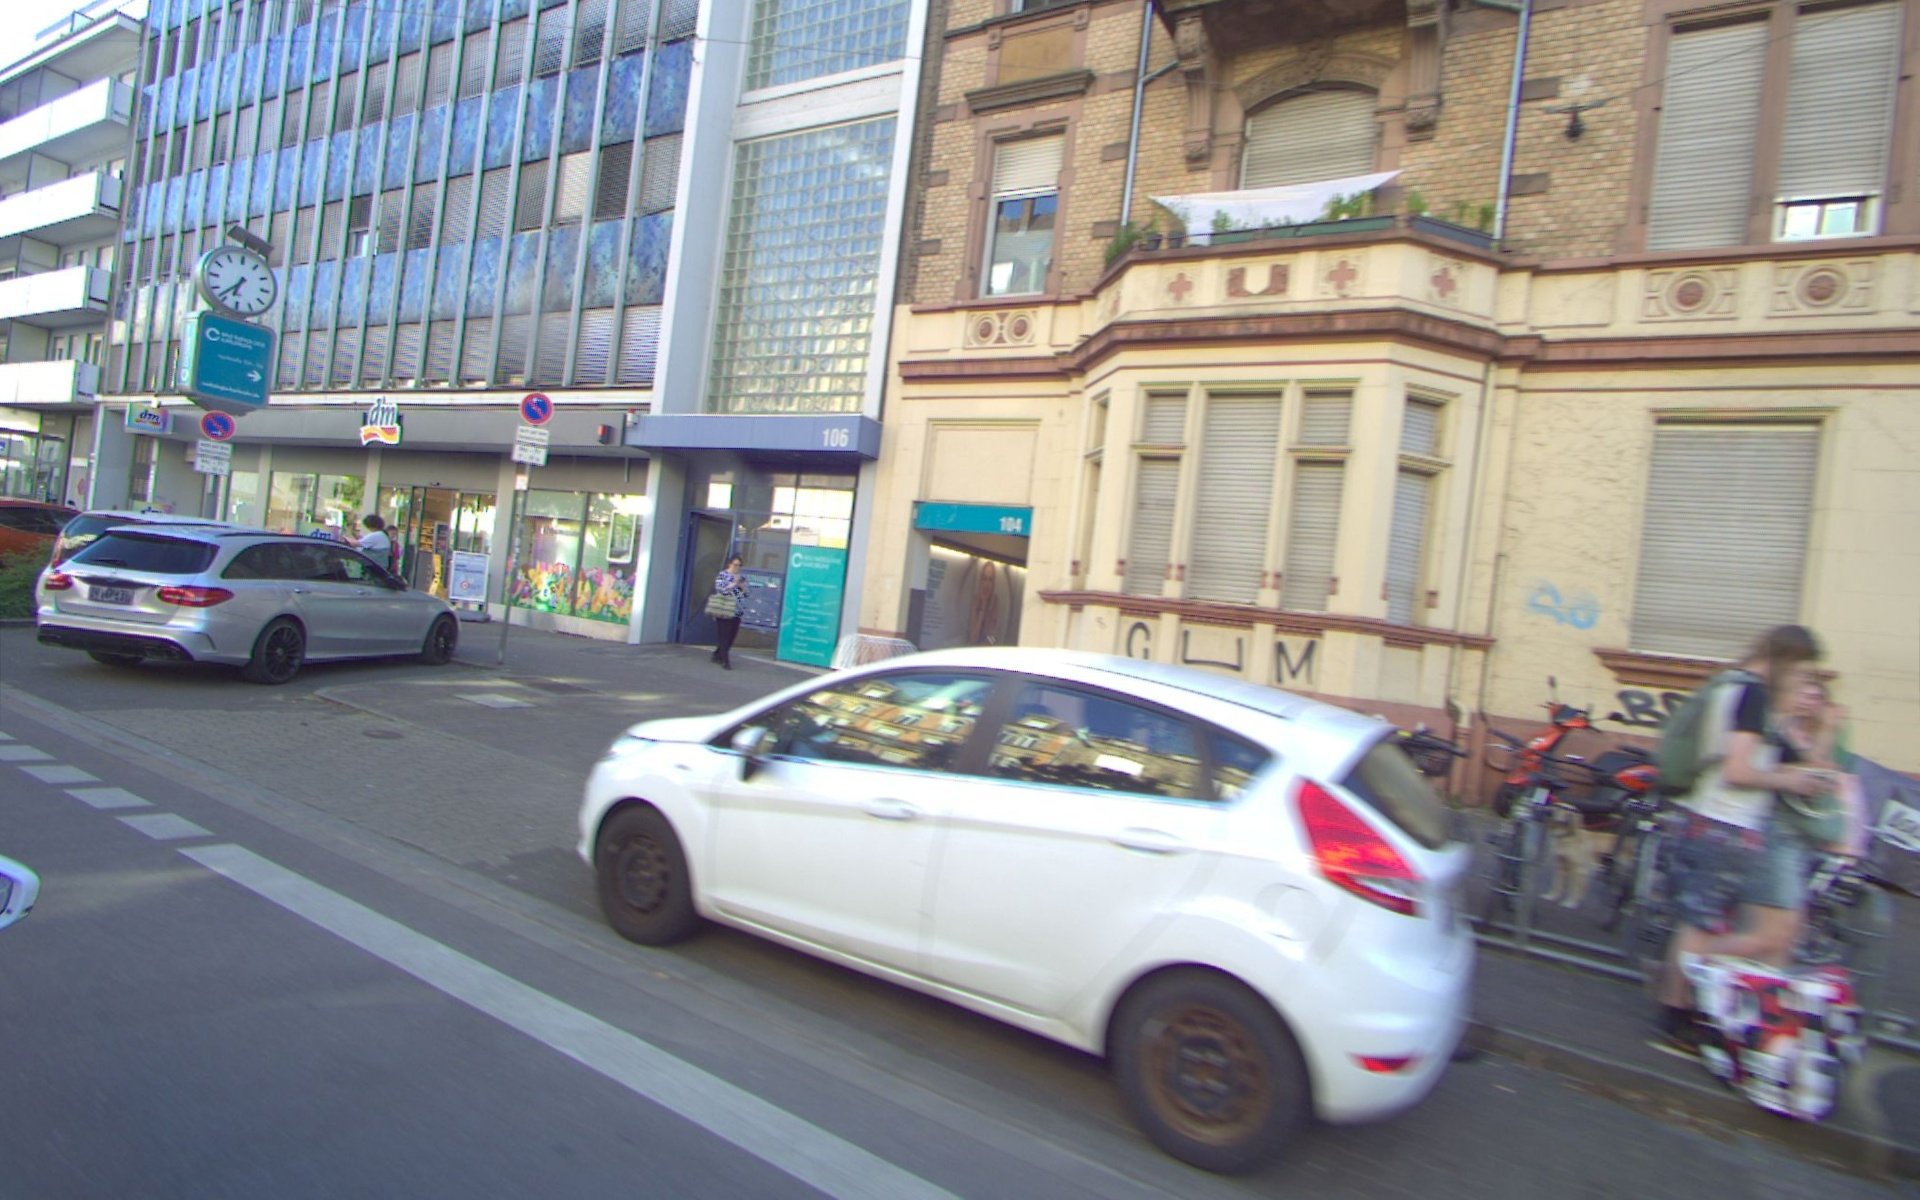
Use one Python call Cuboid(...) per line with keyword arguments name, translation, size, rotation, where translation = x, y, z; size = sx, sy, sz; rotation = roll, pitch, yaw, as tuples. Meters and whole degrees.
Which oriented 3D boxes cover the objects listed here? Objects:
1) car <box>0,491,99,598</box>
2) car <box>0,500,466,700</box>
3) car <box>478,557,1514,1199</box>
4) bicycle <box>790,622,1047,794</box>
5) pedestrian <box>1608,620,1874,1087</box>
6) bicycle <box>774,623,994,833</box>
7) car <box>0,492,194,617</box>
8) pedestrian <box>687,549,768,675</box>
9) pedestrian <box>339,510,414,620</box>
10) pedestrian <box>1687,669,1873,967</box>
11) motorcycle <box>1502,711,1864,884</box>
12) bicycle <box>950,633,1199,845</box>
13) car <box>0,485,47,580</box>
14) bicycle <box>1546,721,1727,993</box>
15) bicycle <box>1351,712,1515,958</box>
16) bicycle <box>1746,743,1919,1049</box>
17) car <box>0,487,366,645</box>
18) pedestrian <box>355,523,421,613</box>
Cuboid(name="car", translation=(-15.582, -0.994, 15.332), size=(1.790, 1.573, 3.455), rotation=(7, -2, 0))
Cuboid(name="car", translation=(-7.306, 0.090, 10.805), size=(1.507, 1.525, 4.458), rotation=(7, -2, 2))
Cuboid(name="car", translation=(0.036, 0.876, 4.359), size=(3.934, 1.614, 1.877), rotation=(6, -2, 32))
Cuboid(name="bicycle", translation=(-0.306, 0.933, 8.421), size=(2.009, 1.235, 0.657), rotation=(9, -2, -36))
Cuboid(name="pedestrian", translation=(3.237, 0.986, 4.247), size=(0.643, 1.691, 0.713), rotation=(7, -1, 31))
Cuboid(name="bicycle", translation=(-0.528, 0.846, 6.955), size=(1.218, 1.199, 0.694), rotation=(6, -1, 31))
Cuboid(name="car", translation=(-13.257, -0.682, 14.178), size=(1.932, 1.538, 3.732), rotation=(7, -2, -1))
Cuboid(name="pedestrian", translation=(-3.566, 0.191, 15.438), size=(0.715, 1.827, 0.720), rotation=(7, -1, 31))
Cuboid(name="pedestrian", translation=(-10.067, -0.599, 17.363), size=(0.667, 1.776, 0.694), rotation=(7, -1, 31))
Cuboid(name="pedestrian", translation=(5.029, 1.291, 6.221), size=(0.643, 1.626, 0.713), rotation=(7, -1, 31))
Cuboid(name="motorcycle", translation=(6.304, 1.693, 8.977), size=(2.477, 1.005, 0.506), rotation=(6, 3, 32))
Cuboid(name="bicycle", translation=(0.931, 0.978, 7.309), size=(0.653, 1.235, 2.361), rotation=(6, -2, 34))
Cuboid(name="car", translation=(-18.204, -1.391, 16.987), size=(2.010, 1.671, 3.732), rotation=(7, -2, -1))
Cuboid(name="bicycle", translation=(3.938, 1.391, 5.994), size=(0.653, 1.235, 2.023), rotation=(7, -2, 31))
Cuboid(name="bicycle", translation=(3.099, 1.387, 6.471), size=(0.653, 1.235, 2.023), rotation=(7, -2, 31))
Cuboid(name="bicycle", translation=(4.952, 1.474, 5.450), size=(0.653, 1.235, 2.544), rotation=(7, -2, 31))
Cuboid(name="car", translation=(-9.684, -0.301, 12.749), size=(1.804, 1.504, 3.790), rotation=(7, -2, 2))
Cuboid(name="pedestrian", translation=(-10.919, -0.608, 19.223), size=(0.667, 1.606, 0.694), rotation=(7, -1, 31))
